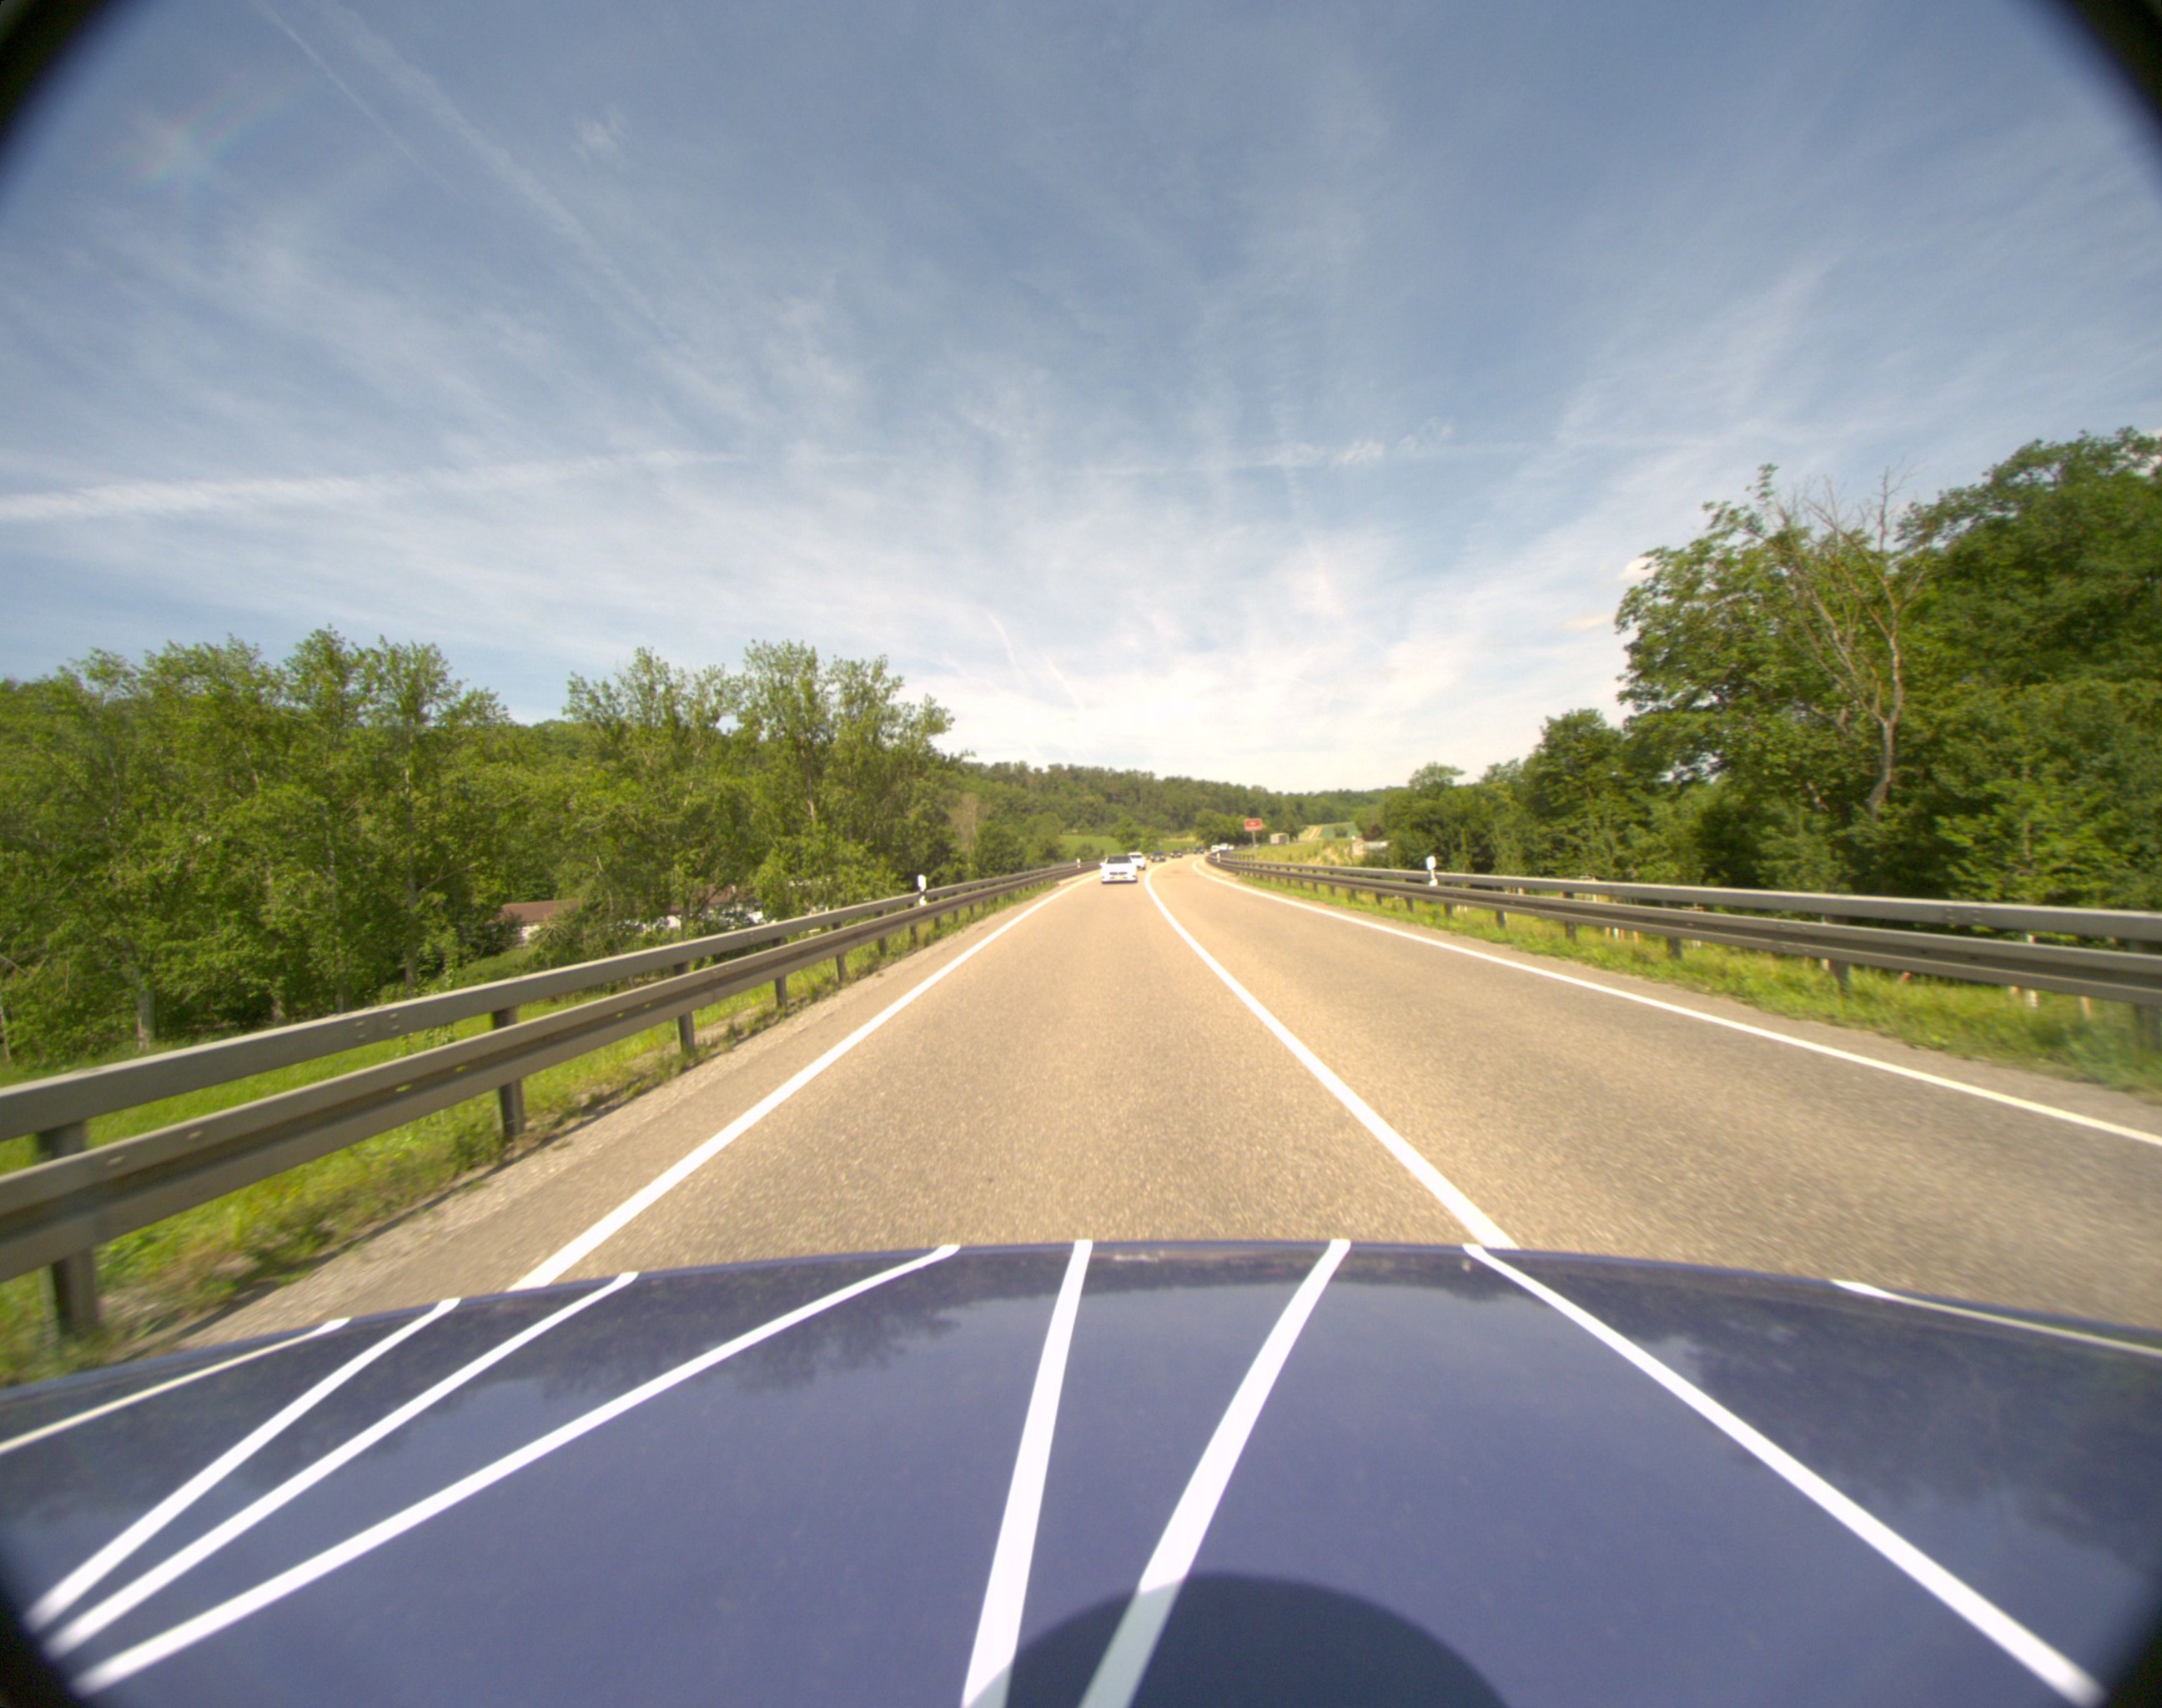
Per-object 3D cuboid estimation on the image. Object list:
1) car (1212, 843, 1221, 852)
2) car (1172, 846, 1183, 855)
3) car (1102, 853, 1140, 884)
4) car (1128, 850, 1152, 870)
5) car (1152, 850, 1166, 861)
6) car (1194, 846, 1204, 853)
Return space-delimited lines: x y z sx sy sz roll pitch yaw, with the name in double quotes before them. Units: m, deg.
"car" 28.081 -1.434 157.368 1.741 1.765 4.039 -2 1 11
"car" 16.797 -0.639 131.865 1.742 1.445 4.038 -2 1 8
"car" 2.153 0.708 39.904 1.742 1.445 4.037 -2 1 6
"car" 5.095 0.454 65.137 1.716 1.523 4.001 -3 1 8
"car" 10.647 0.201 103.372 1.742 1.445 4.037 -2 1 6
"car" 25.736 -1.016 165.455 1.741 1.445 4.039 -2 1 12
